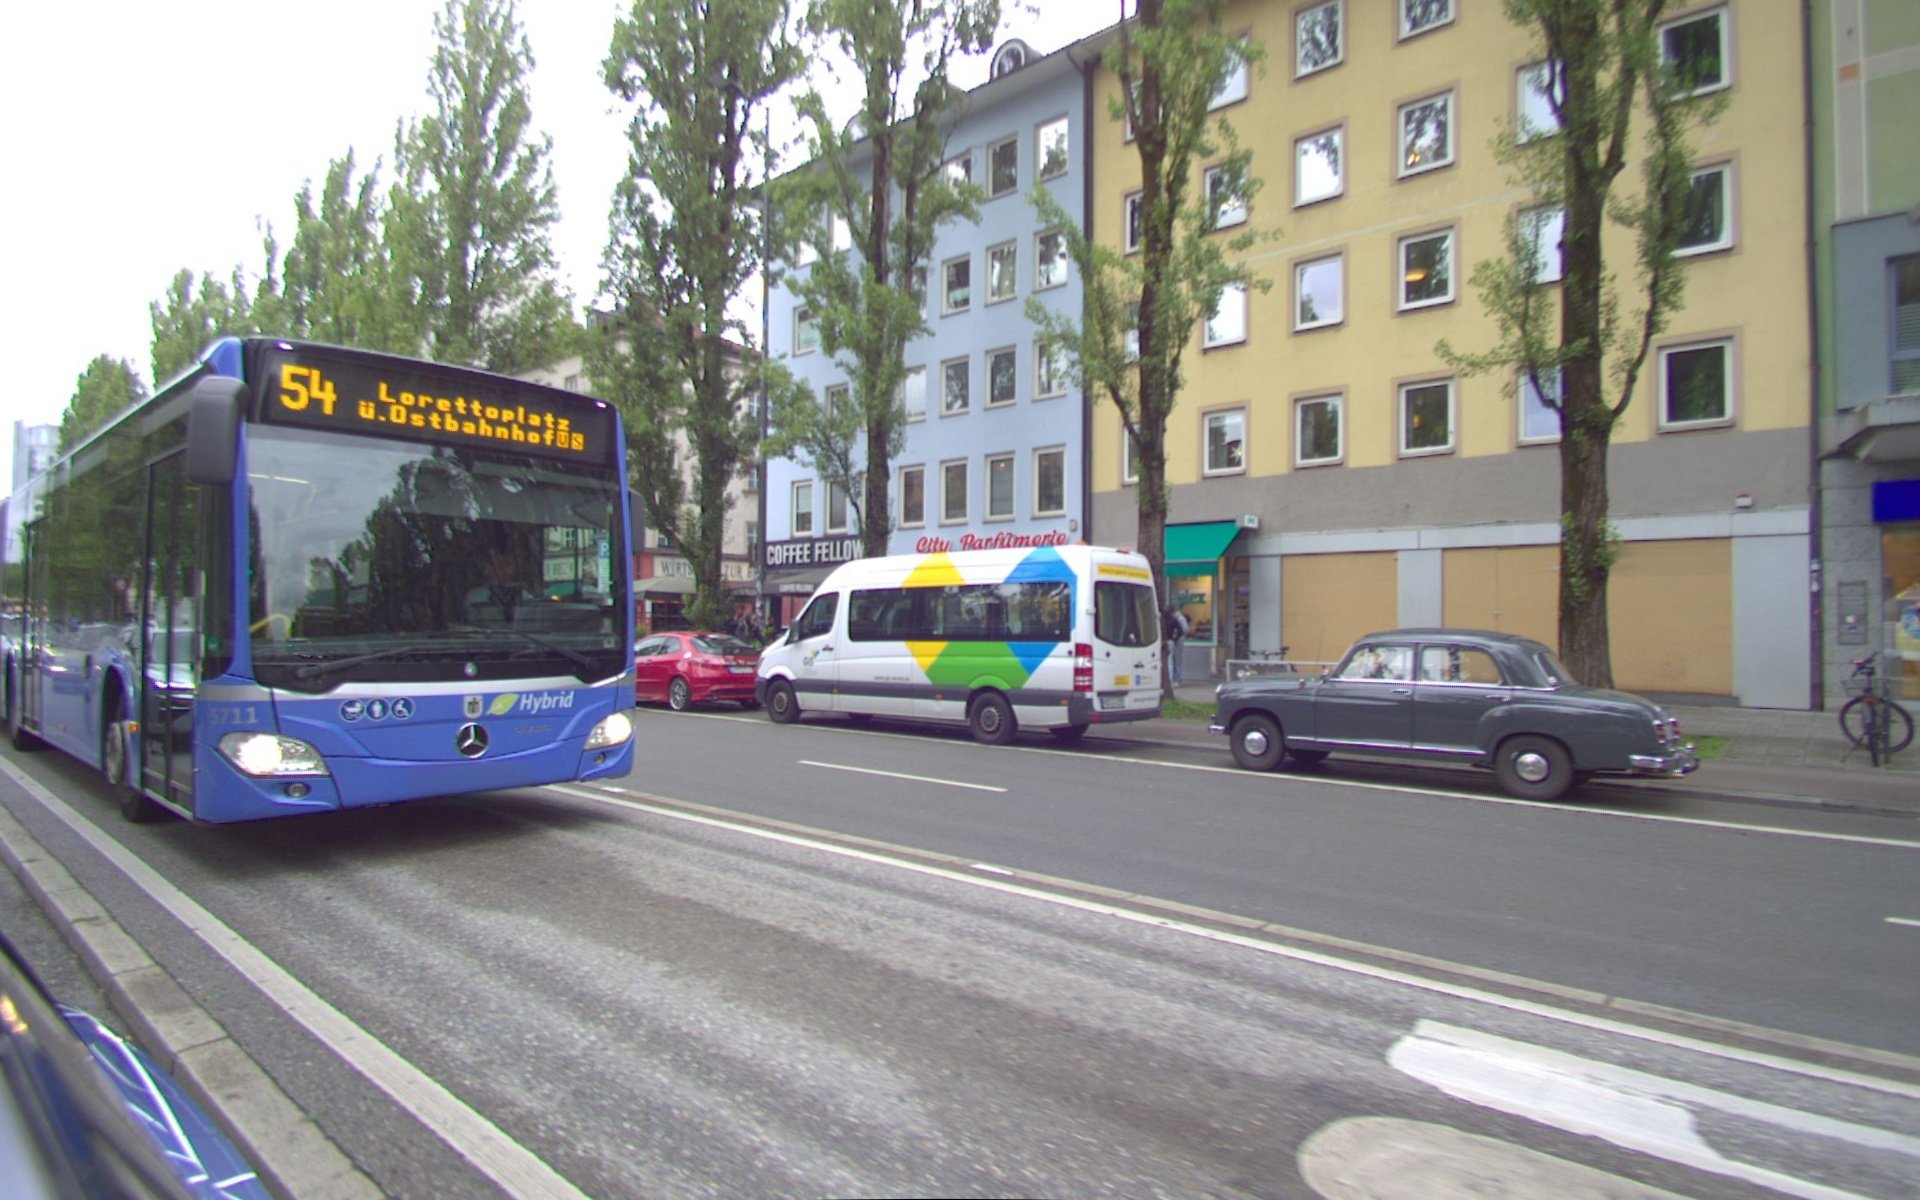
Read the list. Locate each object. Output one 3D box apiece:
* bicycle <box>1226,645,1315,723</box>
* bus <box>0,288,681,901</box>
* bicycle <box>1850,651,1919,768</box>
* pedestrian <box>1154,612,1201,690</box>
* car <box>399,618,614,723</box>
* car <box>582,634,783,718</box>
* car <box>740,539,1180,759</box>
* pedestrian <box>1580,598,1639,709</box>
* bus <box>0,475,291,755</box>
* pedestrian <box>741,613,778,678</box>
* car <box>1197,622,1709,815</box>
[{"bbox_3d":[5.120,1.342,16.627,0.622,1.103,1.848,-2,0,44],"label":"bicycle"},{"bbox_3d":[-6.537,0.087,9.249,10.048,2.972,2.661,-2,-2,42],"label":"bus"},{"bbox_3d":[10.418,1.170,11.234,0.719,1.103,1.848,-2,0,44],"label":"bicycle"},{"bbox_3d":[4.698,1.086,21.852,0.688,1.648,0.729,1,-2,-25],"label":"pedestrian"},{"bbox_3d":[-8.196,1.193,18.113,4.452,1.647,1.752,-2,-3,40],"label":"car"},{"bbox_3d":[-5.433,1.406,19.562,4.146,1.430,1.719,-2,-4,41],"label":"car"},{"bbox_3d":[-0.317,0.685,14.958,6.909,2.587,1.984,-2,-4,41],"label":"car"},{"bbox_3d":[10.300,0.836,16.043,0.675,1.698,0.748,-1,-2,42],"label":"pedestrian"},{"bbox_3d":[-13.122,0.281,15.077,10.047,2.972,2.655,-1,-2,41],"label":"bus"},{"bbox_3d":[-6.050,1.363,30.574,0.905,1.941,0.690,-2,-3,44],"label":"pedestrian"},{"bbox_3d":[4.868,1.054,10.408,4.412,1.564,1.846,-2,-4,41],"label":"car"}]
